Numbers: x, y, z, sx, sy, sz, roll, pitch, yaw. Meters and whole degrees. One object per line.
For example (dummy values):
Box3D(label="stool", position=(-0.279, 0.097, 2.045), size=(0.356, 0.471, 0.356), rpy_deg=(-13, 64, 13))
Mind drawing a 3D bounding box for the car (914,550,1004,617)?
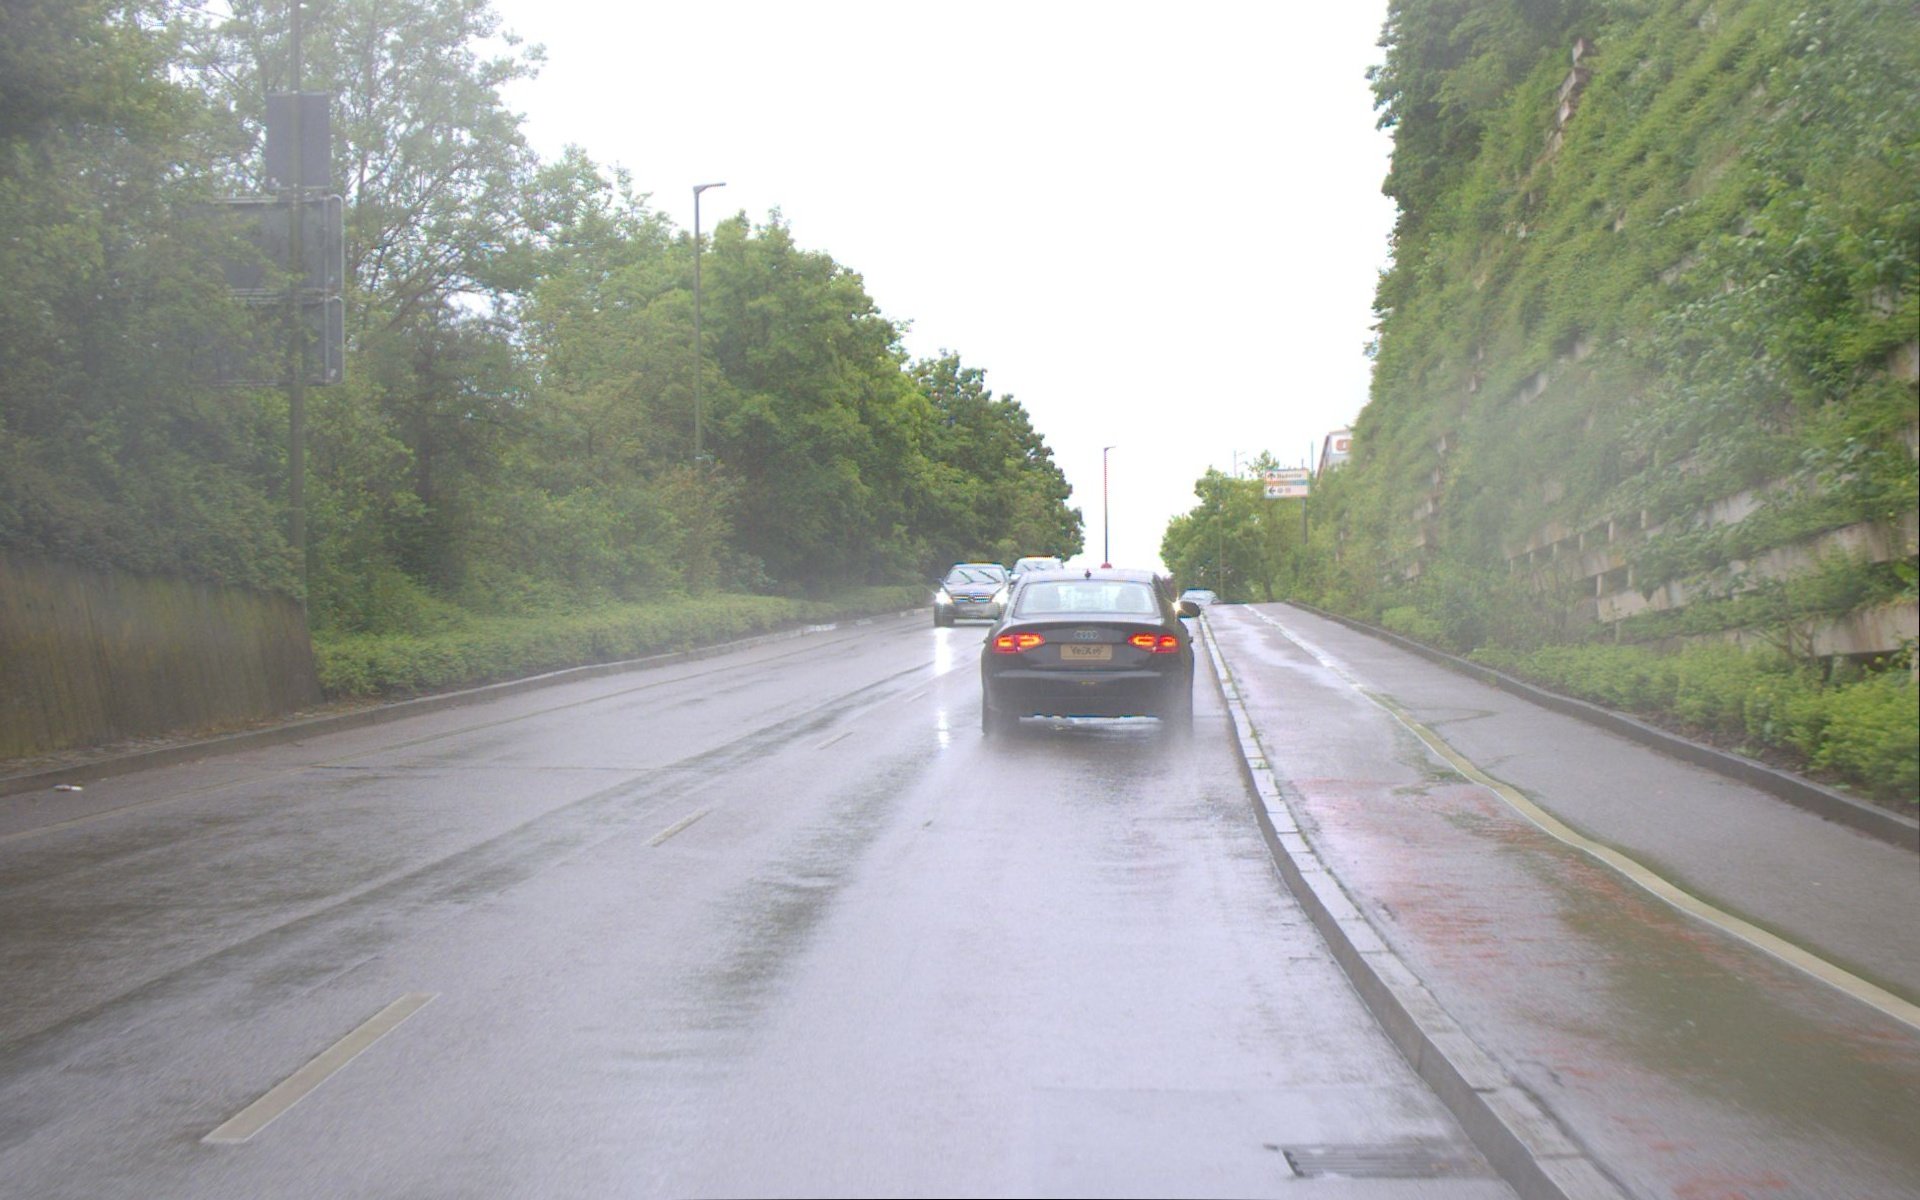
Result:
Box3D(label="car", position=(0.011, -0.401, 78.443), size=(1.865, 1.444, 4.377), rpy_deg=(-1, 1, 2))

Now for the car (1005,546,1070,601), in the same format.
Box3D(label="car", position=(2.384, -0.826, 105.090), size=(1.823, 1.609, 4.093), rpy_deg=(1, 1, 4))

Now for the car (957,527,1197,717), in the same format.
Box3D(label="car", position=(1.082, 0.150, 29.765), size=(1.893, 1.487, 4.207), rpy_deg=(-1, 1, 4))
